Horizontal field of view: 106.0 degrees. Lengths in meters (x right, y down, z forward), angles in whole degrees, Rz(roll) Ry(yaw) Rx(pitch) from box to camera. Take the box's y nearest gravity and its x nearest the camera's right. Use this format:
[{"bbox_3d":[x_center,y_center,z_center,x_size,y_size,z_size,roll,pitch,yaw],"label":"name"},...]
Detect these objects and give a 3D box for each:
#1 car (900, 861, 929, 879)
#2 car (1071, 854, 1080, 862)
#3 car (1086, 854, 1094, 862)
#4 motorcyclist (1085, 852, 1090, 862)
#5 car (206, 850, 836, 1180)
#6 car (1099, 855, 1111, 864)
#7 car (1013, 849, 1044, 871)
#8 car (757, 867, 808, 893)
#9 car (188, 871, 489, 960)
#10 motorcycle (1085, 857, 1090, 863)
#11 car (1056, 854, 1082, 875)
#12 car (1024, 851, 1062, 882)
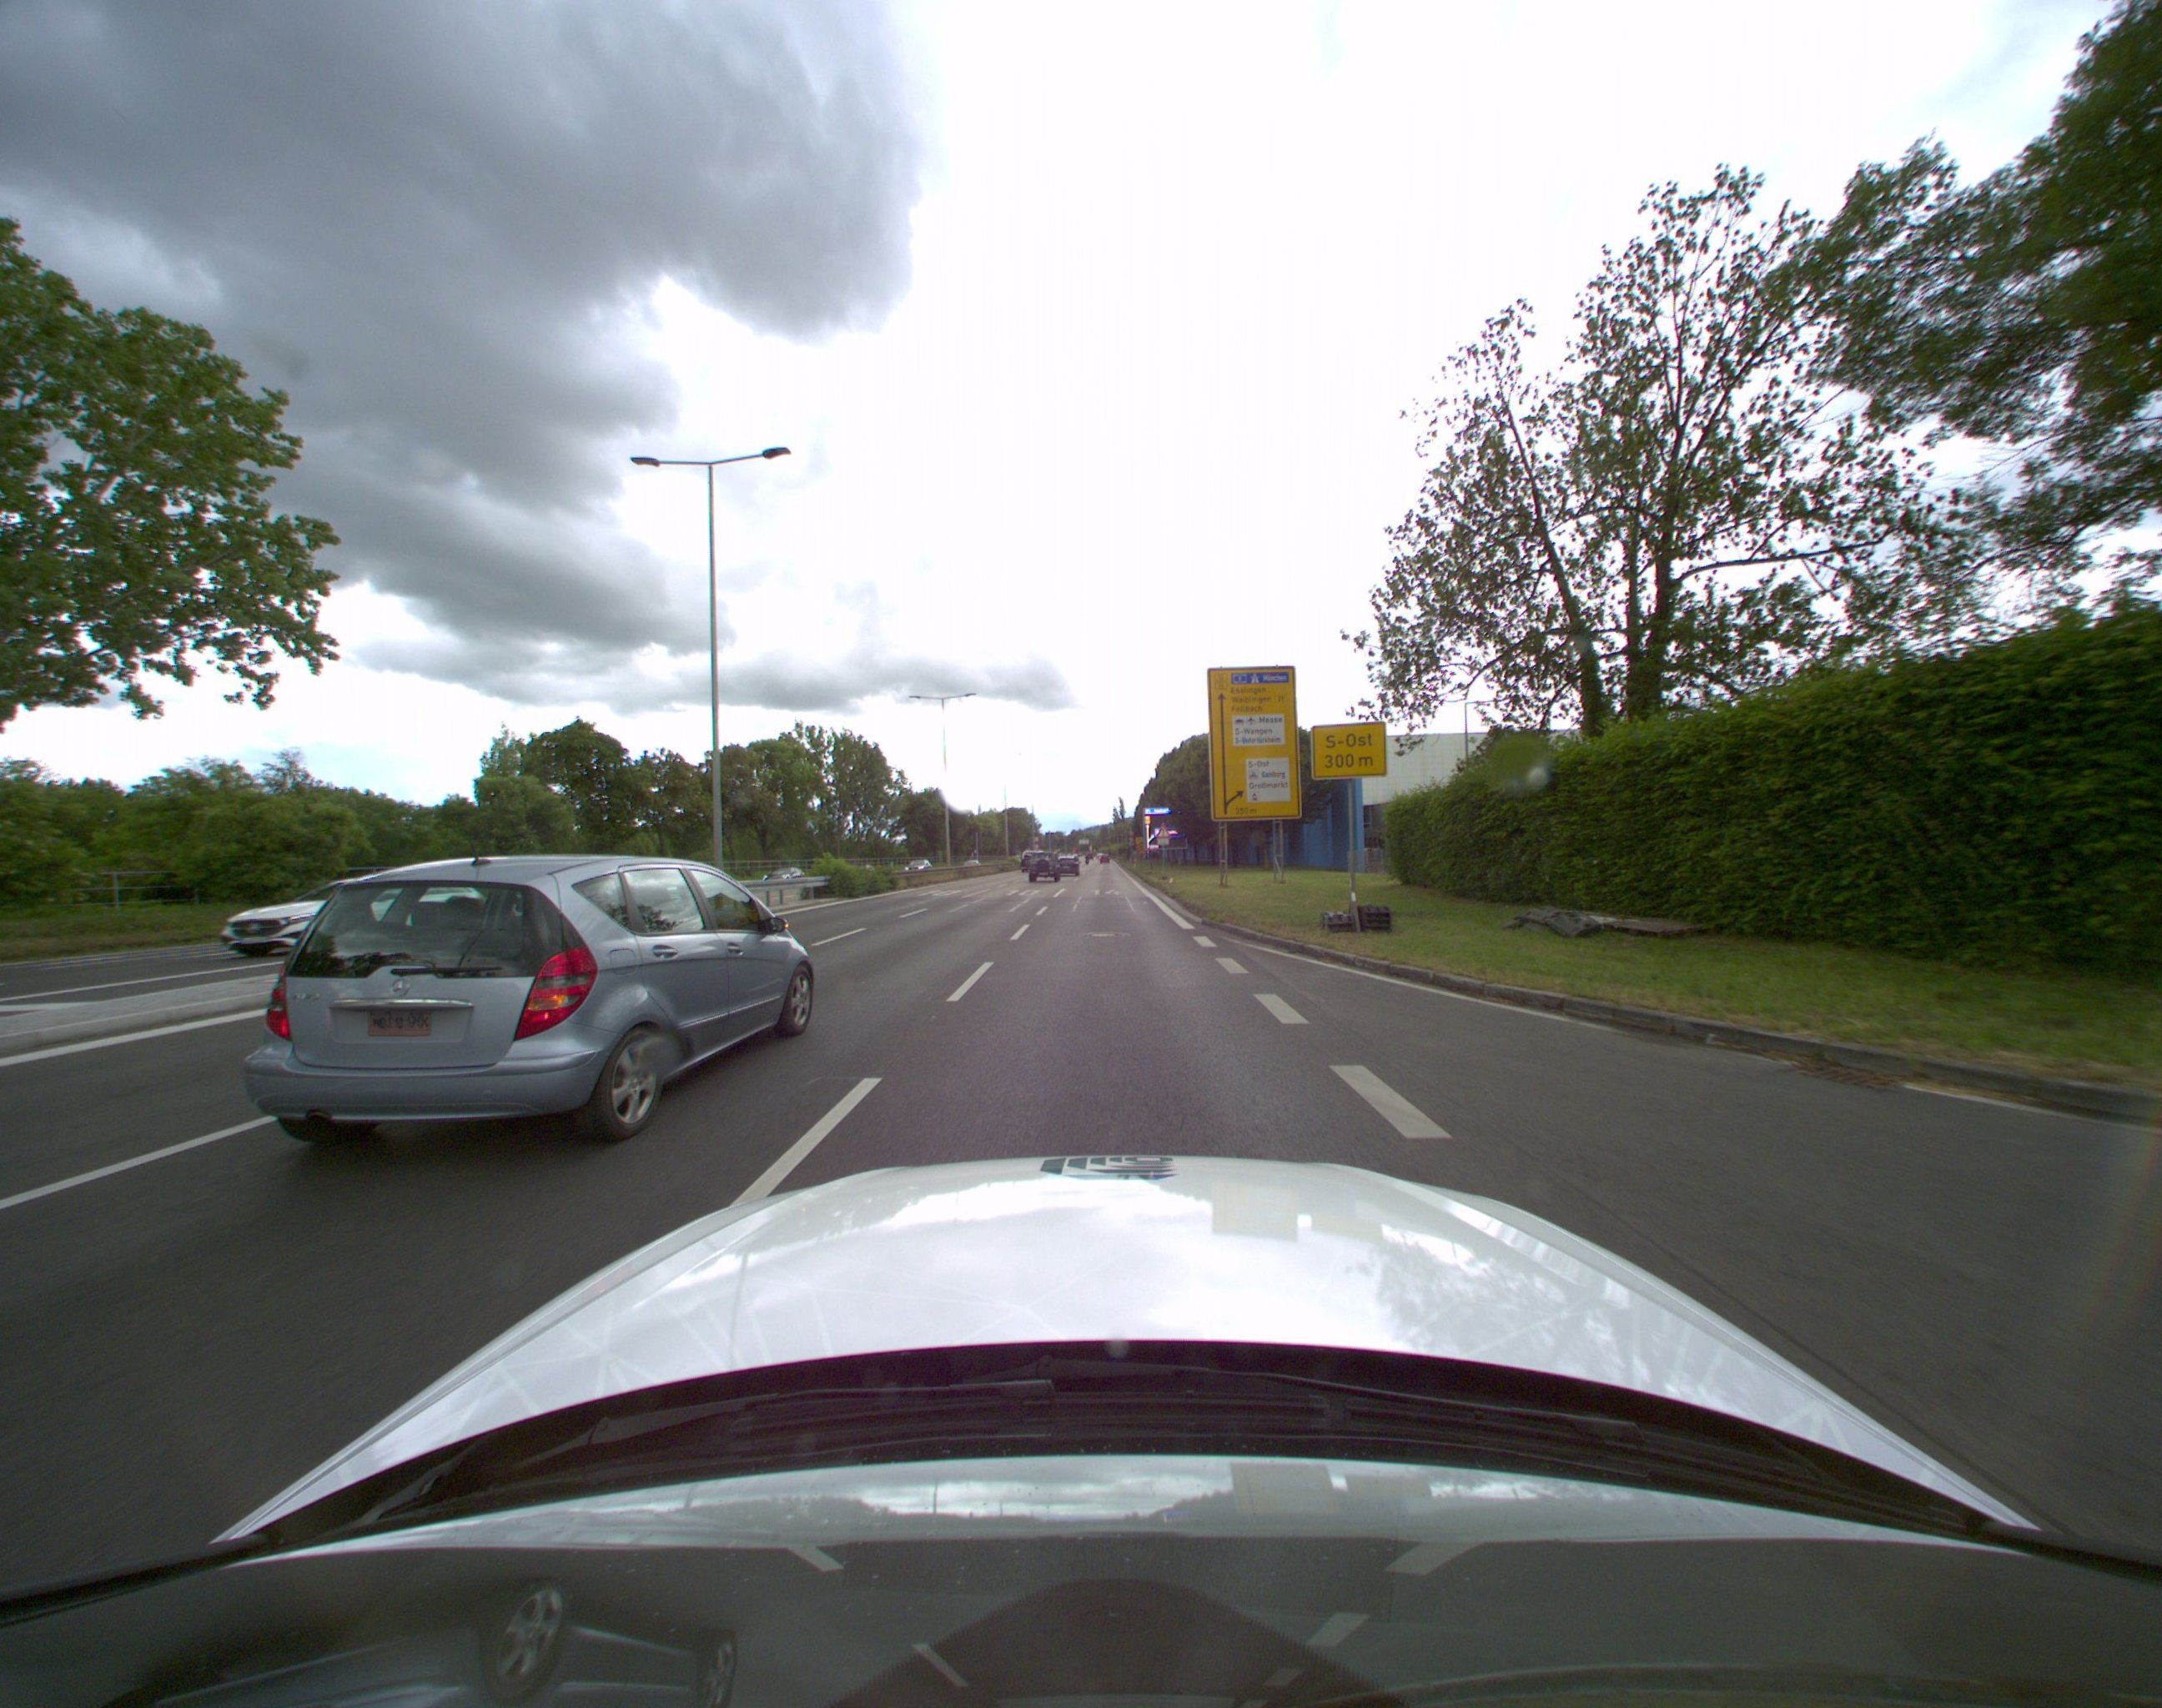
[{"bbox_3d":[-16.615,1.589,81.433,1.986,1.640,4.001,0,1,1],"label":"car"},{"bbox_3d":[-1.298,0.943,202.654,1.986,2.013,4.002,0,1,1],"label":"car"},{"bbox_3d":[2.244,1.000,210.443,1.986,2.013,4.002,0,1,1],"label":"car"},{"bbox_3d":[1.000,0.439,129.724,0.682,1.610,0.846,0,0,3],"label":"motorcyclist"},{"bbox_3d":[-3.253,0.751,5.852,1.704,1.530,4.001,0,1,1],"label":"car"},{"bbox_3d":[4.119,0.931,141.444,1.987,1.552,4.000,0,1,0],"label":"car"},{"bbox_3d":[-4.714,0.493,74.128,2.206,1.925,5.006,0,1,3],"label":"car"},{"bbox_3d":[-20.682,1.784,56.655,1.986,1.640,4.001,0,1,1],"label":"car"},{"bbox_3d":[-15.513,1.189,17.498,1.986,1.493,4.806,0,1,1],"label":"car"},{"bbox_3d":[1.004,0.941,129.623,0.703,1.040,2.028,0,1,3],"label":"motorcycle"},{"bbox_3d":[-0.850,0.732,60.058,1.833,1.464,4.001,0,1,1],"label":"car"},{"bbox_3d":[-2.147,0.669,46.555,1.901,1.684,4.001,0,1,1],"label":"car"}]
